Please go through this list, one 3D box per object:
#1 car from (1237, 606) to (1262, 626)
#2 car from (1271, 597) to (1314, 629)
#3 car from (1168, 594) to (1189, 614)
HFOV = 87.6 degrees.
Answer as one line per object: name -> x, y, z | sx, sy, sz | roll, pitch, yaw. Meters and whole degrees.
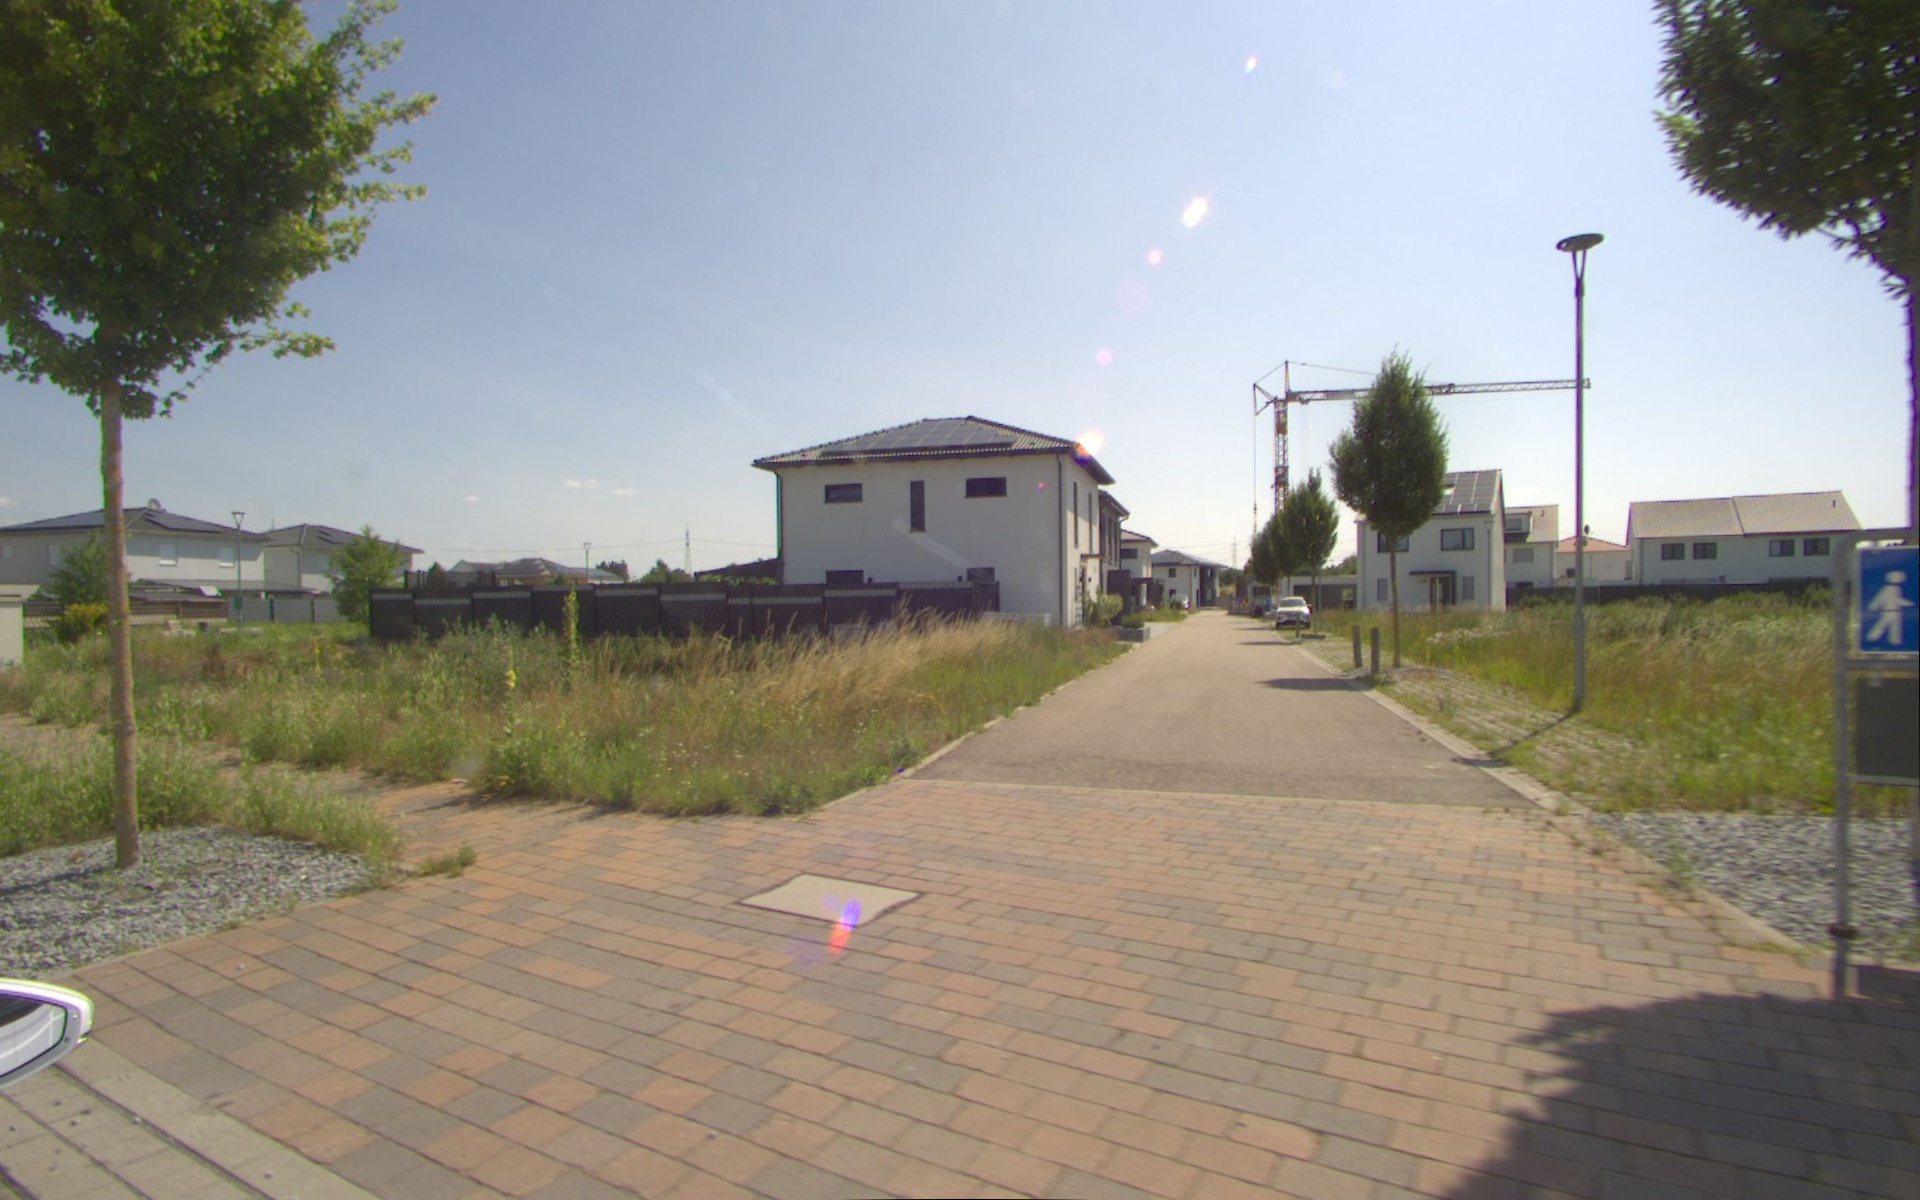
car -> 21.841, 1.192, 75.578 | 1.710, 1.461, 3.826 | 0, 0, 15
car -> 15.904, 0.620, 48.044 | 1.710, 1.461, 3.826 | 0, 0, 15
car -> 17.385, 0.317, 79.576 | 1.564, 1.510, 3.368 | 0, 0, 13
